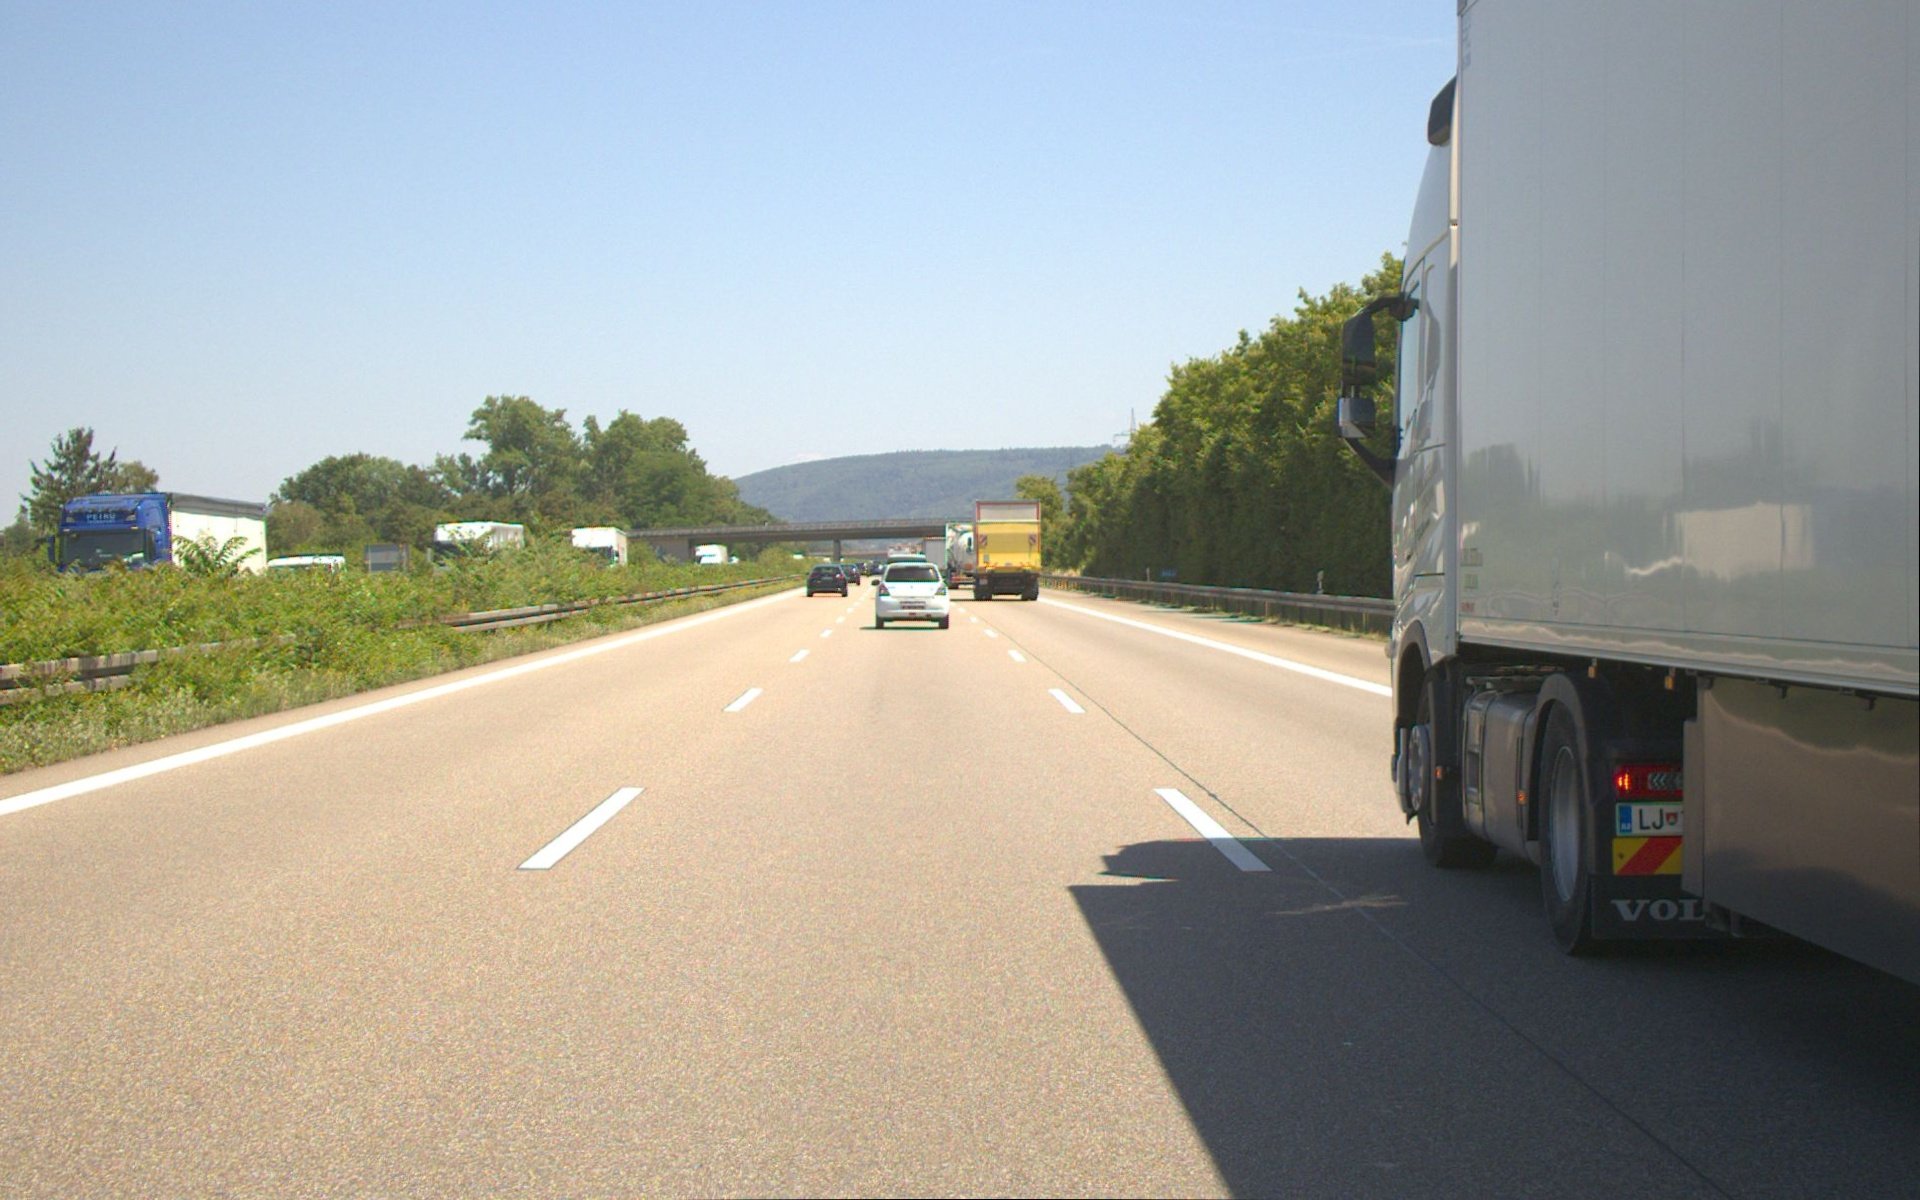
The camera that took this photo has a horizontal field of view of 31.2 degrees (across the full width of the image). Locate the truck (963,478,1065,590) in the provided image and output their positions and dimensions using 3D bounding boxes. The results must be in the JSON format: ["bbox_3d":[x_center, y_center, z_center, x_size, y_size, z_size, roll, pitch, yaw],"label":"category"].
[{"bbox_3d":[2.135,-2.735,141.822,3.871,4.330,13.861,1,1,0],"label":"truck"}]

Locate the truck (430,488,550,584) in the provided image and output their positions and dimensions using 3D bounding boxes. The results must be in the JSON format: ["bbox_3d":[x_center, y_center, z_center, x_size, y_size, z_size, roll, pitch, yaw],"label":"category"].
[{"bbox_3d":[-22.334,-3.066,164.214,3.871,4.330,13.861,1,1,0],"label":"truck"}]

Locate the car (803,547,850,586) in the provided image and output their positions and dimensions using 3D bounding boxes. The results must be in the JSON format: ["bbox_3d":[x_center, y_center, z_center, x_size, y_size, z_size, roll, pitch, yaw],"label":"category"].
[{"bbox_3d":[-5.953,-1.518,153.375,1.993,1.706,4.000,0,1,-1],"label":"car"}]

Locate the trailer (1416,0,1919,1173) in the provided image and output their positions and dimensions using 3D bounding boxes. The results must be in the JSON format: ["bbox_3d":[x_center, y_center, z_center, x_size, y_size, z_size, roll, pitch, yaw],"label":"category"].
[{"bbox_3d":[3.805,-0.854,8.462,3.217,4.330,13.630,1,1,-1],"label":"trailer"}]

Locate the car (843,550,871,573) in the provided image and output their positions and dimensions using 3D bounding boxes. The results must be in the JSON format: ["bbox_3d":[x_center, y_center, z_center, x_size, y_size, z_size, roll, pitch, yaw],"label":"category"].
[{"bbox_3d":[-6.952,-2.579,231.581,1.795,1.545,4.000,0,1,0],"label":"car"}]

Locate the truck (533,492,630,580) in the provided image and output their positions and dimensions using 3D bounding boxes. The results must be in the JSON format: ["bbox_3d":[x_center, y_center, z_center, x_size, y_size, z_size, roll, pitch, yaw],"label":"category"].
[{"bbox_3d":[-20.919,-3.578,190.832,3.871,4.648,13.861,1,1,0],"label":"truck"}]

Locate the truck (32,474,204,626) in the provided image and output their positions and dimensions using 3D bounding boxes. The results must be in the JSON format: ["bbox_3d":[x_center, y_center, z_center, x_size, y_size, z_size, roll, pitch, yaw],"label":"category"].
[{"bbox_3d":[-22.152,-1.322,90.706,3.134,3.819,5.834,-1,1,-1],"label":"truck"}]

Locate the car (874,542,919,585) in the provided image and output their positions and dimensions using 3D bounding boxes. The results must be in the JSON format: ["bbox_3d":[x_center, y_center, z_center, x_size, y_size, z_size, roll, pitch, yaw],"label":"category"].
[{"bbox_3d":[-2.619,-1.517,141.942,1.786,1.706,4.000,1,1,-1],"label":"car"}]

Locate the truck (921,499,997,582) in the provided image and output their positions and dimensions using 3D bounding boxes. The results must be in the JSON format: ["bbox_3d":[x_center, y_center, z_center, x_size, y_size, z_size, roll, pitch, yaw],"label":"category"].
[{"bbox_3d":[-0.076,-3.472,201.702,4.271,4.636,13.861,0,1,0],"label":"truck"}]

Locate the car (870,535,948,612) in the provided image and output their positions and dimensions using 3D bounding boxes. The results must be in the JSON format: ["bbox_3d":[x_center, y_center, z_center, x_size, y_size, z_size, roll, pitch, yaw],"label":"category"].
[{"bbox_3d":[-1.187,-0.631,79.413,1.732,1.678,4.000,-1,1,-1],"label":"car"}]

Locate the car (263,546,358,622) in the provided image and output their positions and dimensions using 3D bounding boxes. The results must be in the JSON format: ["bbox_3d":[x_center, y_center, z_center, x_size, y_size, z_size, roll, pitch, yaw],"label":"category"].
[{"bbox_3d":[-17.704,-0.459,93.896,1.839,2.007,4.000,0,1,0],"label":"car"}]

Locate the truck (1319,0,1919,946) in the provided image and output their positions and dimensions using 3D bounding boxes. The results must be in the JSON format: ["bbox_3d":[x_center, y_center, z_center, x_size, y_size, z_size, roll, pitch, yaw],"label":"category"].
[{"bbox_3d":[3.665,-0.998,15.482,3.217,4.330,6.591,1,1,-1],"label":"truck"}]
